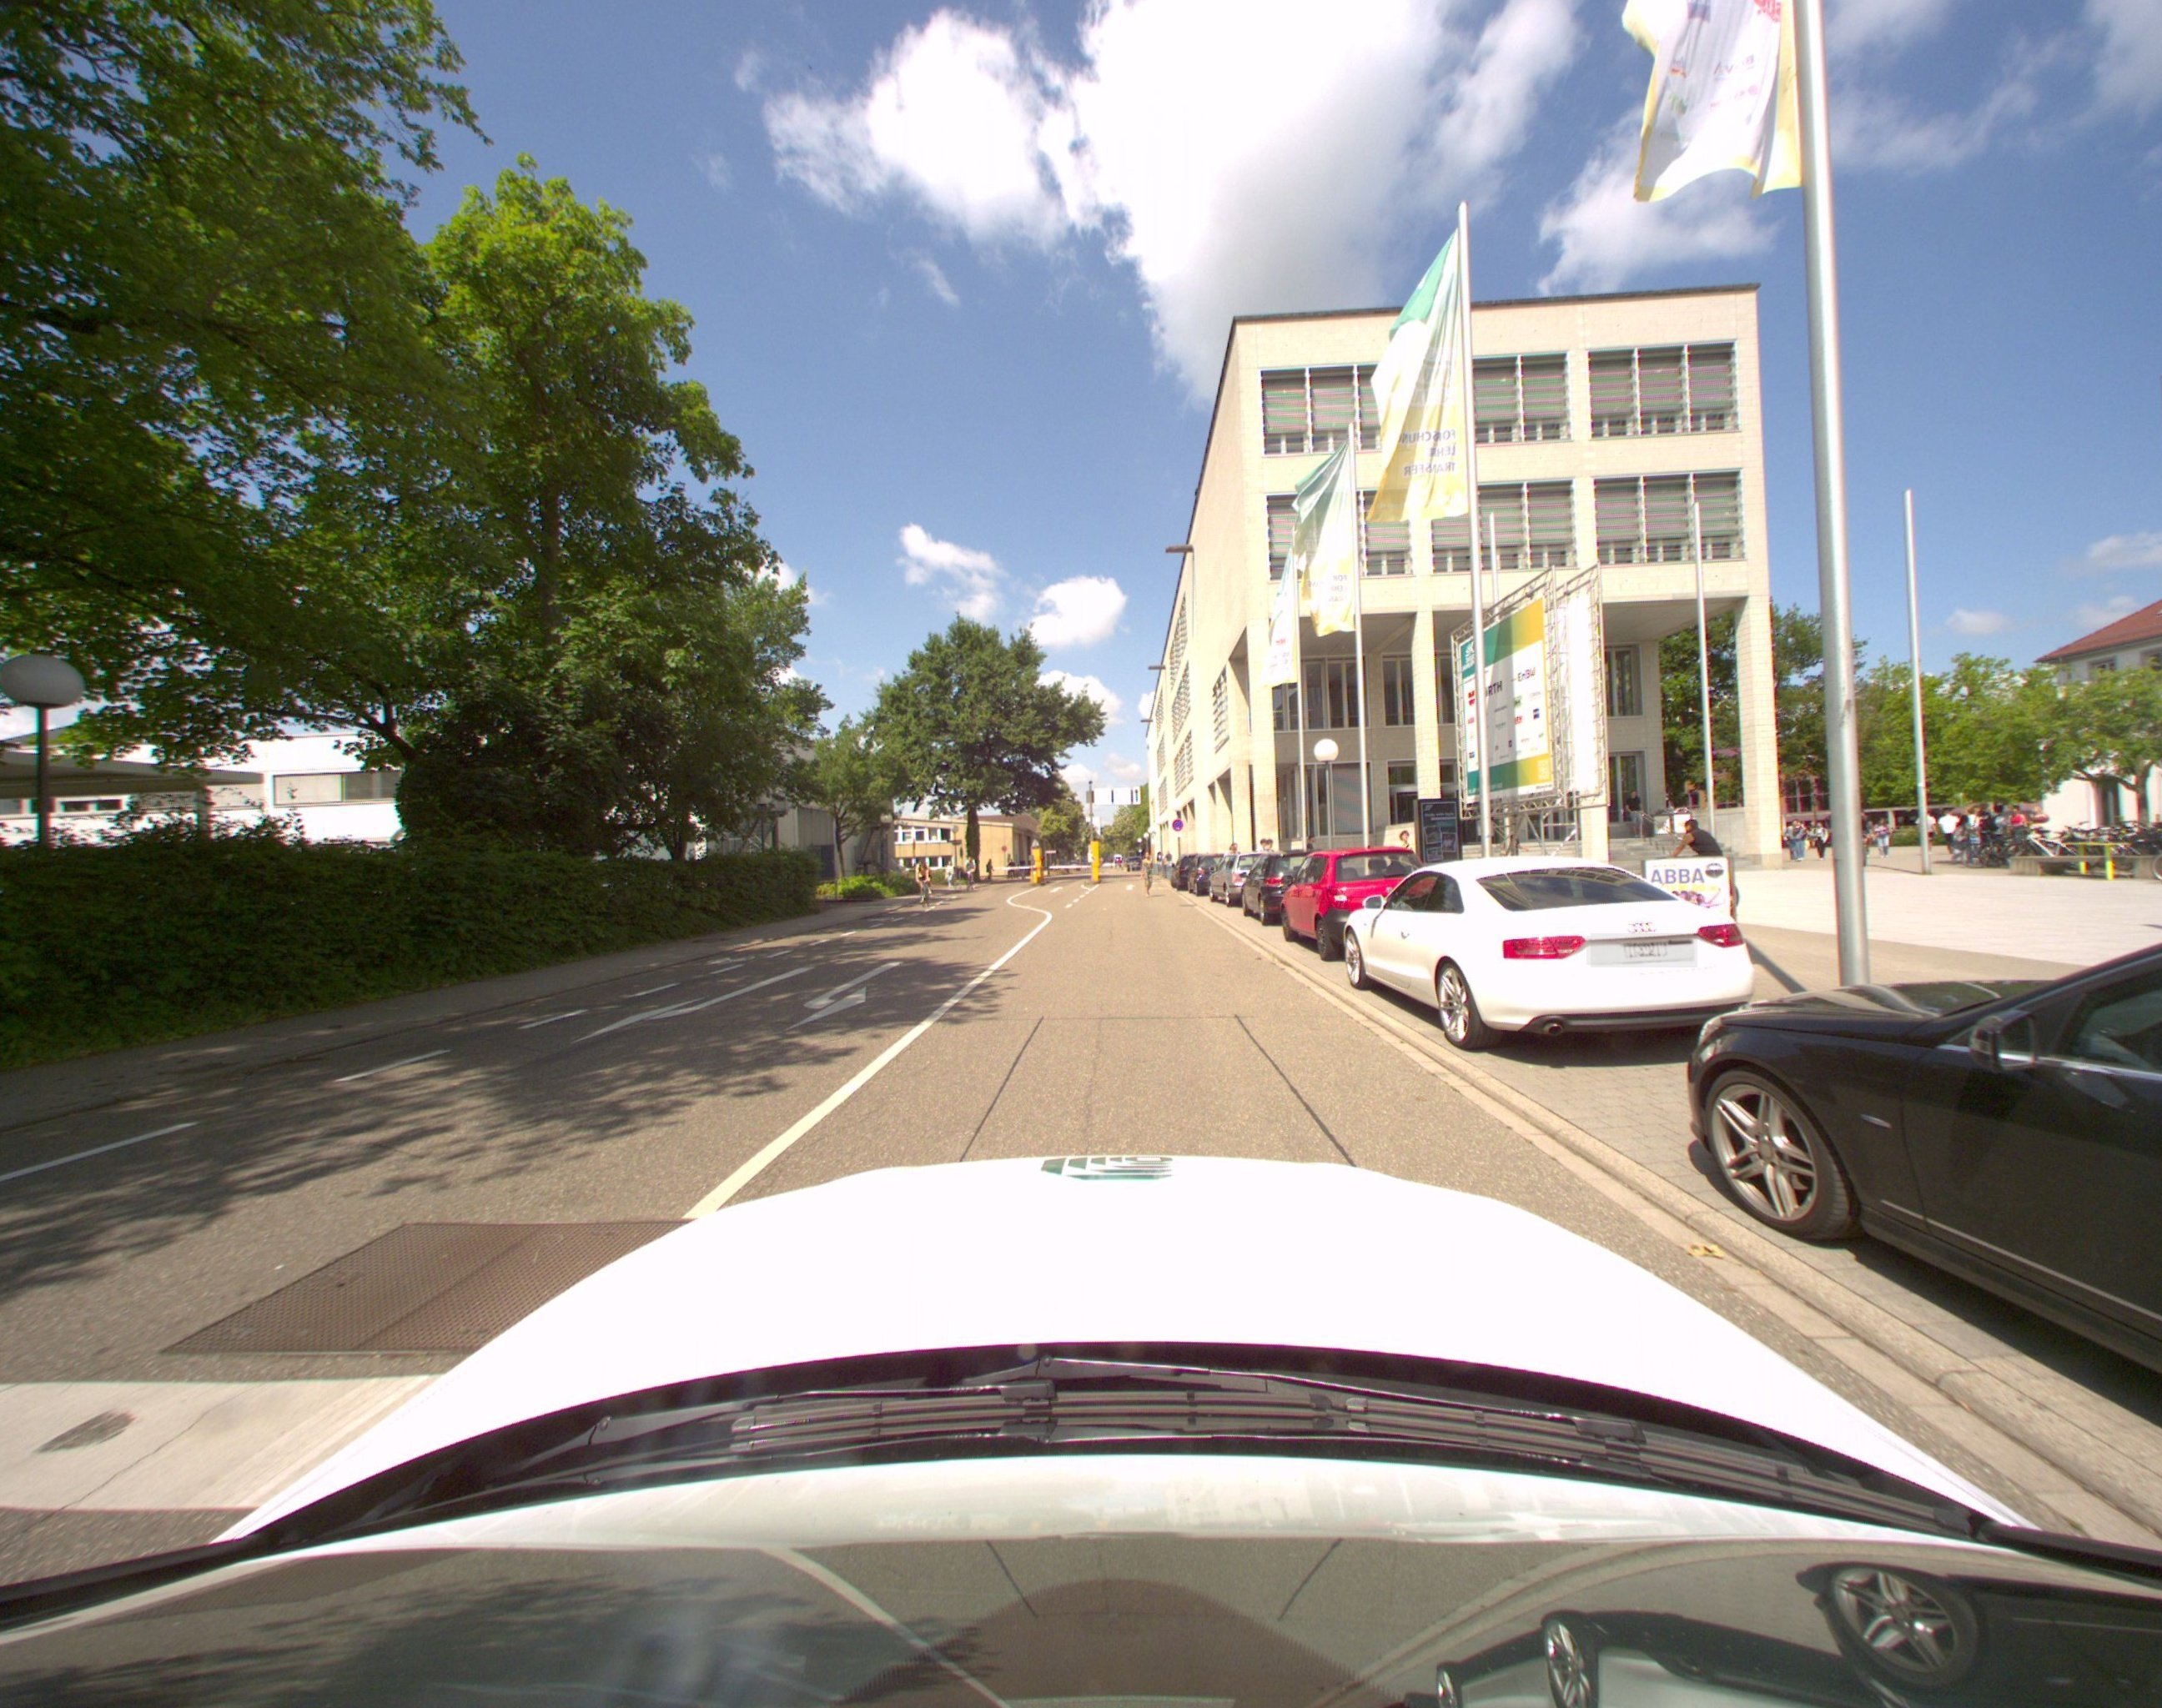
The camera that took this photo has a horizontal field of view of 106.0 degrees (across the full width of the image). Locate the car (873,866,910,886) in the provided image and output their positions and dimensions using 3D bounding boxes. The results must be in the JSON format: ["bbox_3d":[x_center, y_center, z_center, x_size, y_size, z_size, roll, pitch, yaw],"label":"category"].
[{"bbox_3d":[-15.181,1.753,65.529,1.822,1.467,4.300,-2,0,1],"label":"car"}]

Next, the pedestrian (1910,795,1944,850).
[{"bbox_3d":[35.609,-1.318,34.281,0.636,2.230,0.710,-1,-3,-28],"label":"pedestrian"}]

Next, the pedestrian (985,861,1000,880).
[{"bbox_3d":[-7.672,1.454,70.478,0.876,1.632,0.902,-2,-2,24],"label":"pedestrian"}]

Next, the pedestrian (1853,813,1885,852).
[{"bbox_3d":[31.631,-0.845,32.694,0.626,1.498,0.720,-3,-3,25],"label":"pedestrian"}]

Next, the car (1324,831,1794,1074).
[{"bbox_3d":[3.670,0.639,7.358,1.711,1.400,4.441,-5,-1,3],"label":"car"}]

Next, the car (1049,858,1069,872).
[{"bbox_3d":[-2.634,1.339,96.433,1.985,1.546,4.215,-2,0,3],"label":"car"}]

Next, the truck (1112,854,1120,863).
[{"bbox_3d":[9.700,1.149,224.159,1.986,2.271,4.616,-2,-2,1],"label":"truck"}]

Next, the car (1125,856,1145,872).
[{"bbox_3d":[5.855,1.061,88.827,1.985,1.546,4.215,-3,-1,3],"label":"car"}]

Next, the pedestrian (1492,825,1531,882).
[{"bbox_3d":[12.737,-0.013,24.075,0.695,1.639,0.730,-2,-1,-36],"label":"pedestrian"}]

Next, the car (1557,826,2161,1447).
[{"bbox_3d":[3.363,0.644,1.905,1.711,1.400,4.952,-4,-1,3],"label":"car"}]

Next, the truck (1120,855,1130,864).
[{"bbox_3d":[10.469,1.327,193.851,1.986,2.014,4.000,-2,-2,1],"label":"truck"}]

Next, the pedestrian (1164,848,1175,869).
[{"bbox_3d":[7.454,0.381,68.746,0.764,1.780,0.911,-4,0,1],"label":"pedestrian"}]

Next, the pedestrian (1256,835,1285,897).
[{"bbox_3d":[5.971,0.377,25.690,0.721,1.925,0.594,-2,-1,2],"label":"pedestrian"}]

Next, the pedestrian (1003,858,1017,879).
[{"bbox_3d":[-6.049,1.232,69.761,1.052,1.816,0.806,-2,0,1],"label":"pedestrian"}]

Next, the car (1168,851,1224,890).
[{"bbox_3d":[4.820,0.656,34.577,1.859,1.464,4.522,-2,0,2],"label":"car"}]

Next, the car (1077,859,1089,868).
[{"bbox_3d":[0.335,1.647,146.478,1.985,1.546,4.215,-2,0,3],"label":"car"}]

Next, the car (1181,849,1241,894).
[{"bbox_3d":[4.720,0.610,30.071,1.608,1.496,4.007,-2,0,1],"label":"car"}]

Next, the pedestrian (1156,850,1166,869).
[{"bbox_3d":[7.283,0.517,74.045,0.738,1.632,0.888,-4,0,1],"label":"pedestrian"}]

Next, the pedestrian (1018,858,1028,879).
[{"bbox_3d":[-4.933,1.232,69.729,0.702,1.809,1.002,-2,0,1],"label":"pedestrian"}]

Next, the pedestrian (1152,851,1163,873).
[{"bbox_3d":[6.455,0.671,68.796,0.692,1.780,1.086,-4,0,1],"label":"pedestrian"}]

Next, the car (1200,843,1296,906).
[{"bbox_3d":[4.673,0.548,23.469,1.714,1.529,4.565,-4,0,-1],"label":"car"}]

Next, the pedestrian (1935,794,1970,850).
[{"bbox_3d":[35.873,-1.300,33.528,0.636,2.230,0.710,-1,-3,-28],"label":"pedestrian"}]

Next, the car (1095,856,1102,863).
[{"bbox_3d":[5.362,1.675,250.969,1.984,1.720,4.005,-3,-2,5],"label":"car"}]

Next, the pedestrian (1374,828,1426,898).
[{"bbox_3d":[8.258,0.238,21.133,0.914,1.740,1.002,-2,-1,2],"label":"pedestrian"}]

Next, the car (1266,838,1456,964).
[{"bbox_3d":[4.065,0.601,12.529,1.607,1.496,4.151,-4,0,3],"label":"car"}]

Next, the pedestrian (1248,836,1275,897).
[{"bbox_3d":[5.847,0.411,26.382,0.718,1.925,0.754,-2,-1,16],"label":"pedestrian"}]

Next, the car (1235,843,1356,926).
[{"bbox_3d":[4.504,0.601,17.674,1.712,1.529,4.003,-3,-1,3],"label":"car"}]

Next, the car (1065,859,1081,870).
[{"bbox_3d":[-1.088,1.545,118.356,1.985,1.546,4.215,-2,0,3],"label":"car"}]

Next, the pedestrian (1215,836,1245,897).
[{"bbox_3d":[4.794,0.402,26.193,0.776,1.925,0.597,-2,-1,24],"label":"pedestrian"}]

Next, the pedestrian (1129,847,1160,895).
[{"bbox_3d":[2.346,0.626,30.166,0.627,1.717,1.030,-2,-1,-30],"label":"pedestrian"}]

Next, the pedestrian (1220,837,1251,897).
[{"bbox_3d":[5.109,0.419,26.838,0.775,1.925,0.739,-2,-1,24],"label":"pedestrian"}]
